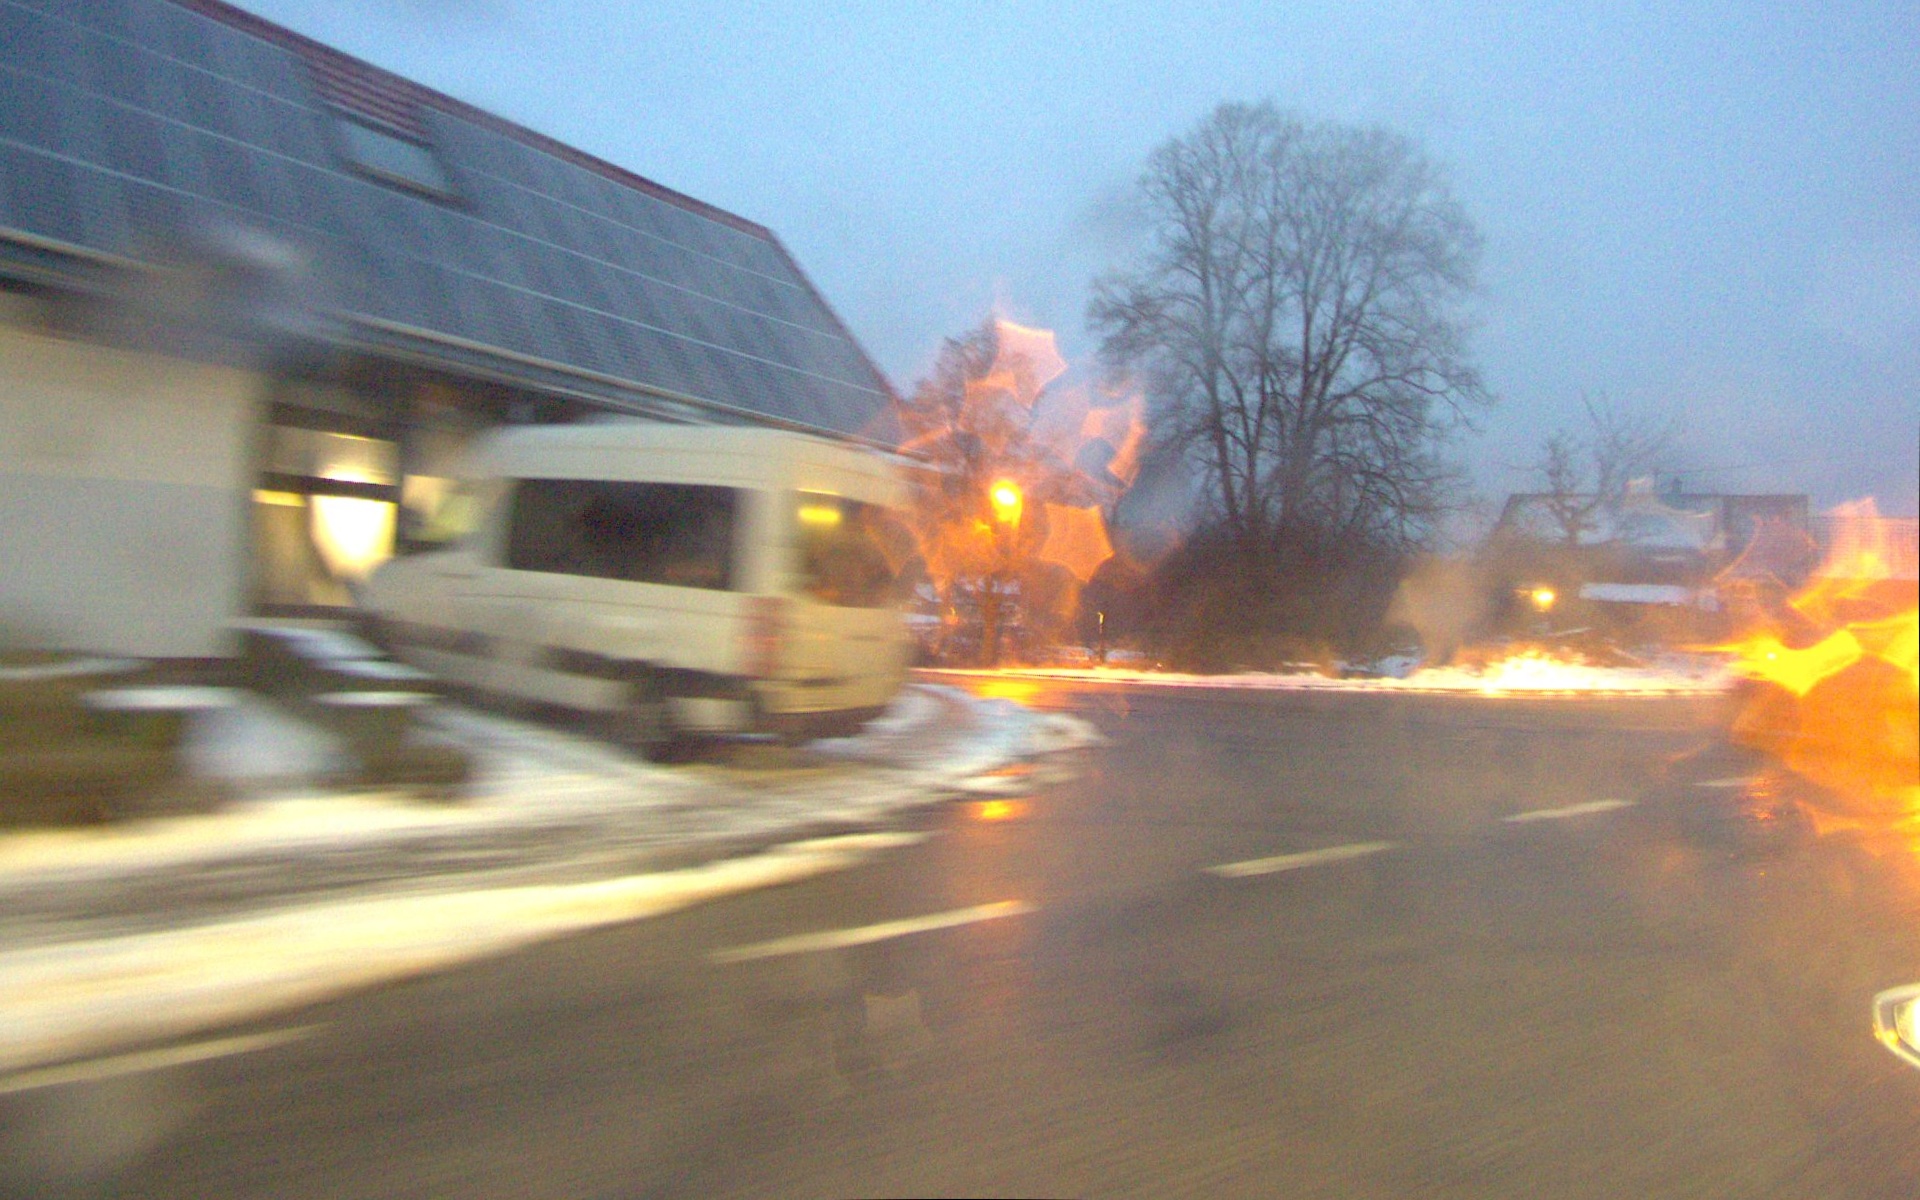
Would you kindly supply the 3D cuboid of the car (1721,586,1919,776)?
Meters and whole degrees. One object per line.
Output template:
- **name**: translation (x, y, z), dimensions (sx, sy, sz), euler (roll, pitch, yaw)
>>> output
- **car**: translation (10.375, 0.833, 11.042), dimensions (1.791, 1.820, 3.580), euler (1, -1, 11)

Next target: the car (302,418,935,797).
- **car**: translation (-3.353, -0.017, 9.255), dimensions (6.007, 2.587, 1.996), euler (2, -1, 31)
